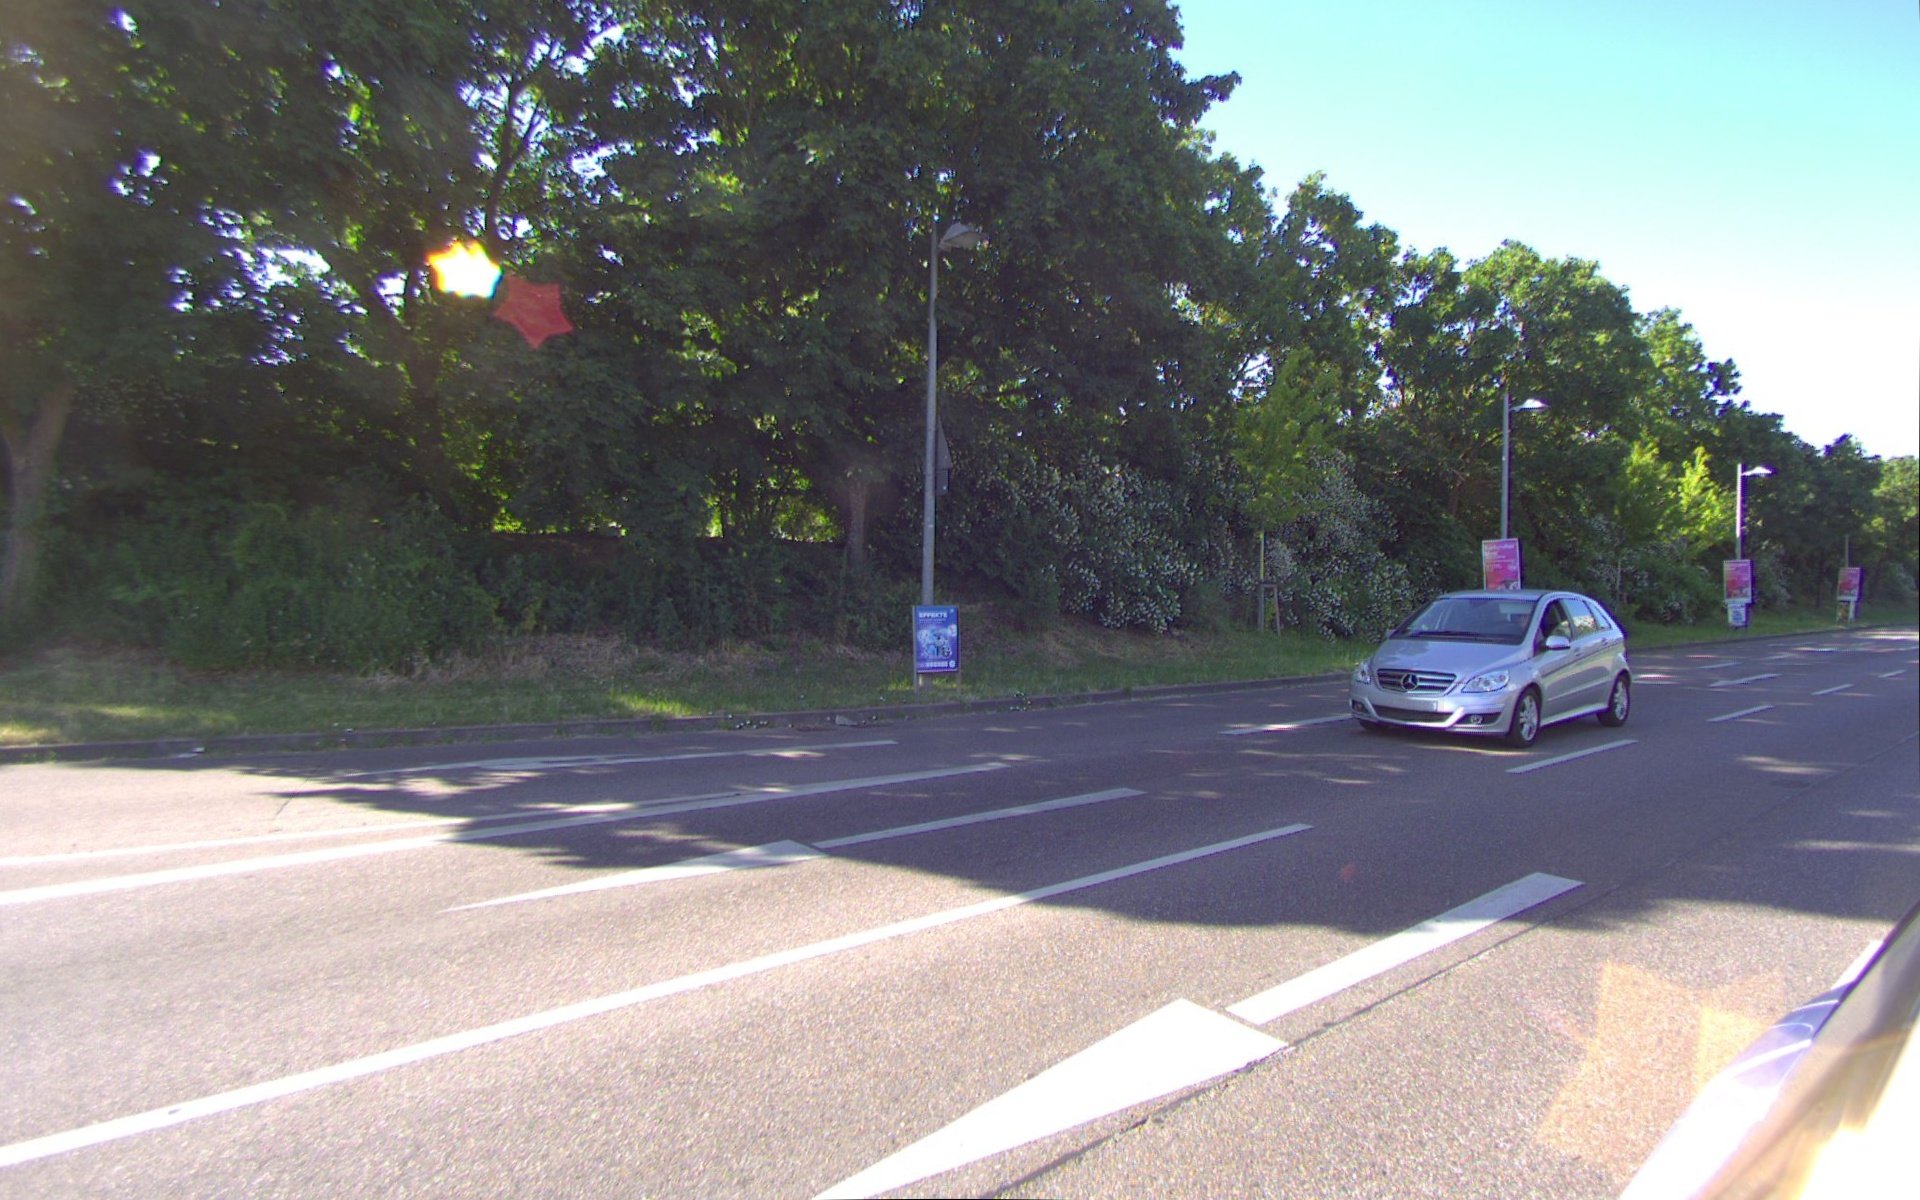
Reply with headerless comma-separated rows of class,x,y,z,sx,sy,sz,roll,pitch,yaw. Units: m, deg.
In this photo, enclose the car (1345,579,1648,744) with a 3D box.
car,6.187,0.566,11.492,3.988,1.559,1.672,0,1,-40
